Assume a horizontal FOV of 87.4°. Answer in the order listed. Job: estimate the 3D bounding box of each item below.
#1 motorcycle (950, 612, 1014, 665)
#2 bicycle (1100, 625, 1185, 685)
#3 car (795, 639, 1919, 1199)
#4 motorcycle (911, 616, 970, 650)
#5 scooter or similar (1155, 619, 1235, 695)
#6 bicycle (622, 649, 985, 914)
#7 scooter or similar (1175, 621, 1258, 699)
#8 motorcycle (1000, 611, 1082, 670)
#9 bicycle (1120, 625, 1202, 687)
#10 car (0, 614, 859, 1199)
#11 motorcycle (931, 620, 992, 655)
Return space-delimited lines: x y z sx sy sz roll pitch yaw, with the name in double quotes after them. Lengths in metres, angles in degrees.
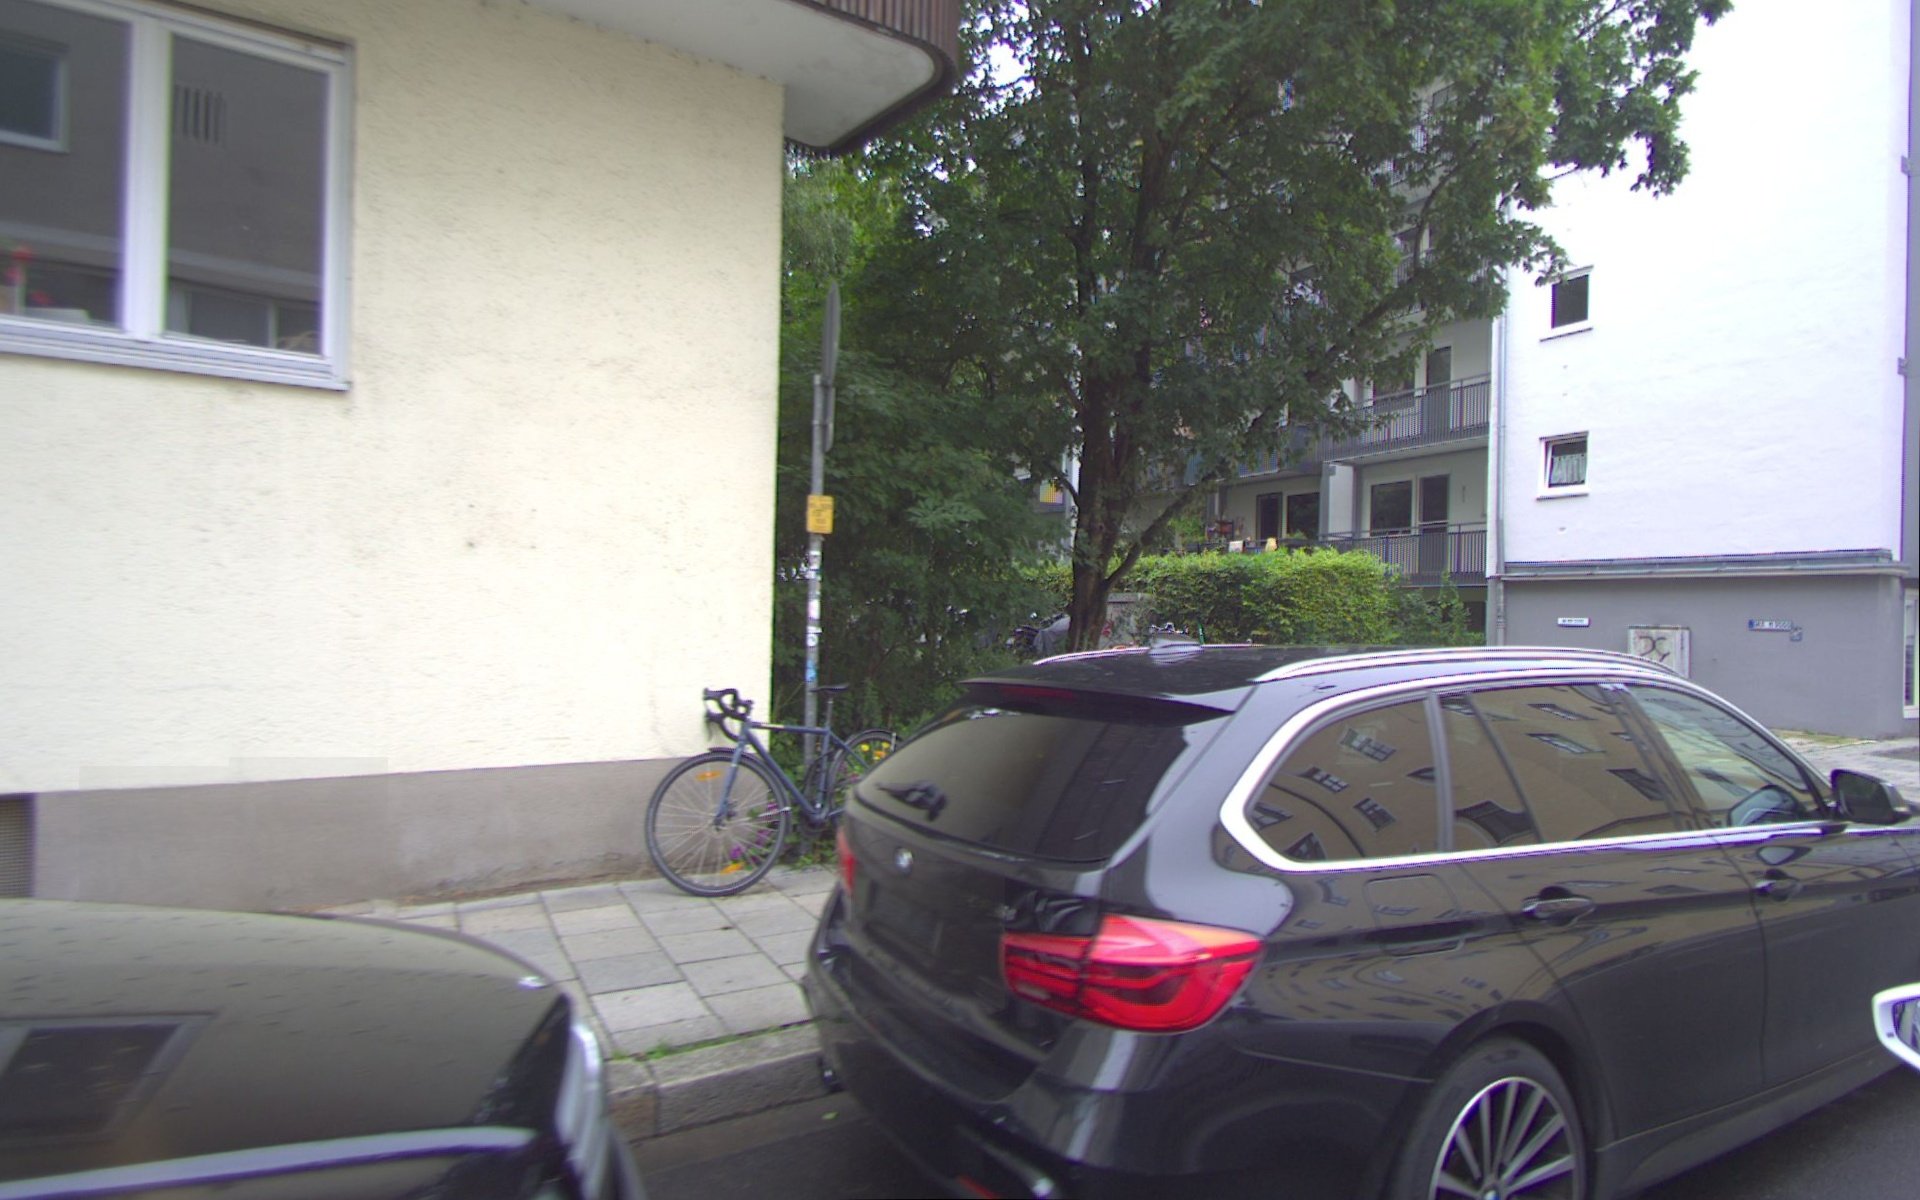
0.555 0.911 24.464 0.535 1.214 1.810 1 1 41 "motorcycle"
3.354 0.986 18.404 1.590 1.052 0.511 1 -1 -32 "bicycle"
1.813 0.872 3.424 4.330 1.427 1.848 2 -2 -30 "car"
-0.505 0.871 26.921 0.535 0.848 1.810 1 1 41 "motorcycle"
4.026 0.961 17.147 1.528 1.260 0.342 1 -1 -32 "scooter or similar"
-0.766 0.855 5.188 1.768 1.177 0.532 2 -3 -30 "bicycle"
4.169 0.961 16.295 1.553 1.218 0.319 1 -1 -32 "scooter or similar"
1.778 0.867 22.006 1.797 1.214 0.539 0 1 -29 "motorcycle"
3.602 0.985 17.950 1.590 1.052 0.421 1 -1 -32 "bicycle"
-2.451 0.731 0.848 4.370 1.503 1.758 2 -2 -29 "car"
0.045 0.963 26.135 0.535 0.848 1.810 1 1 41 "motorcycle"
